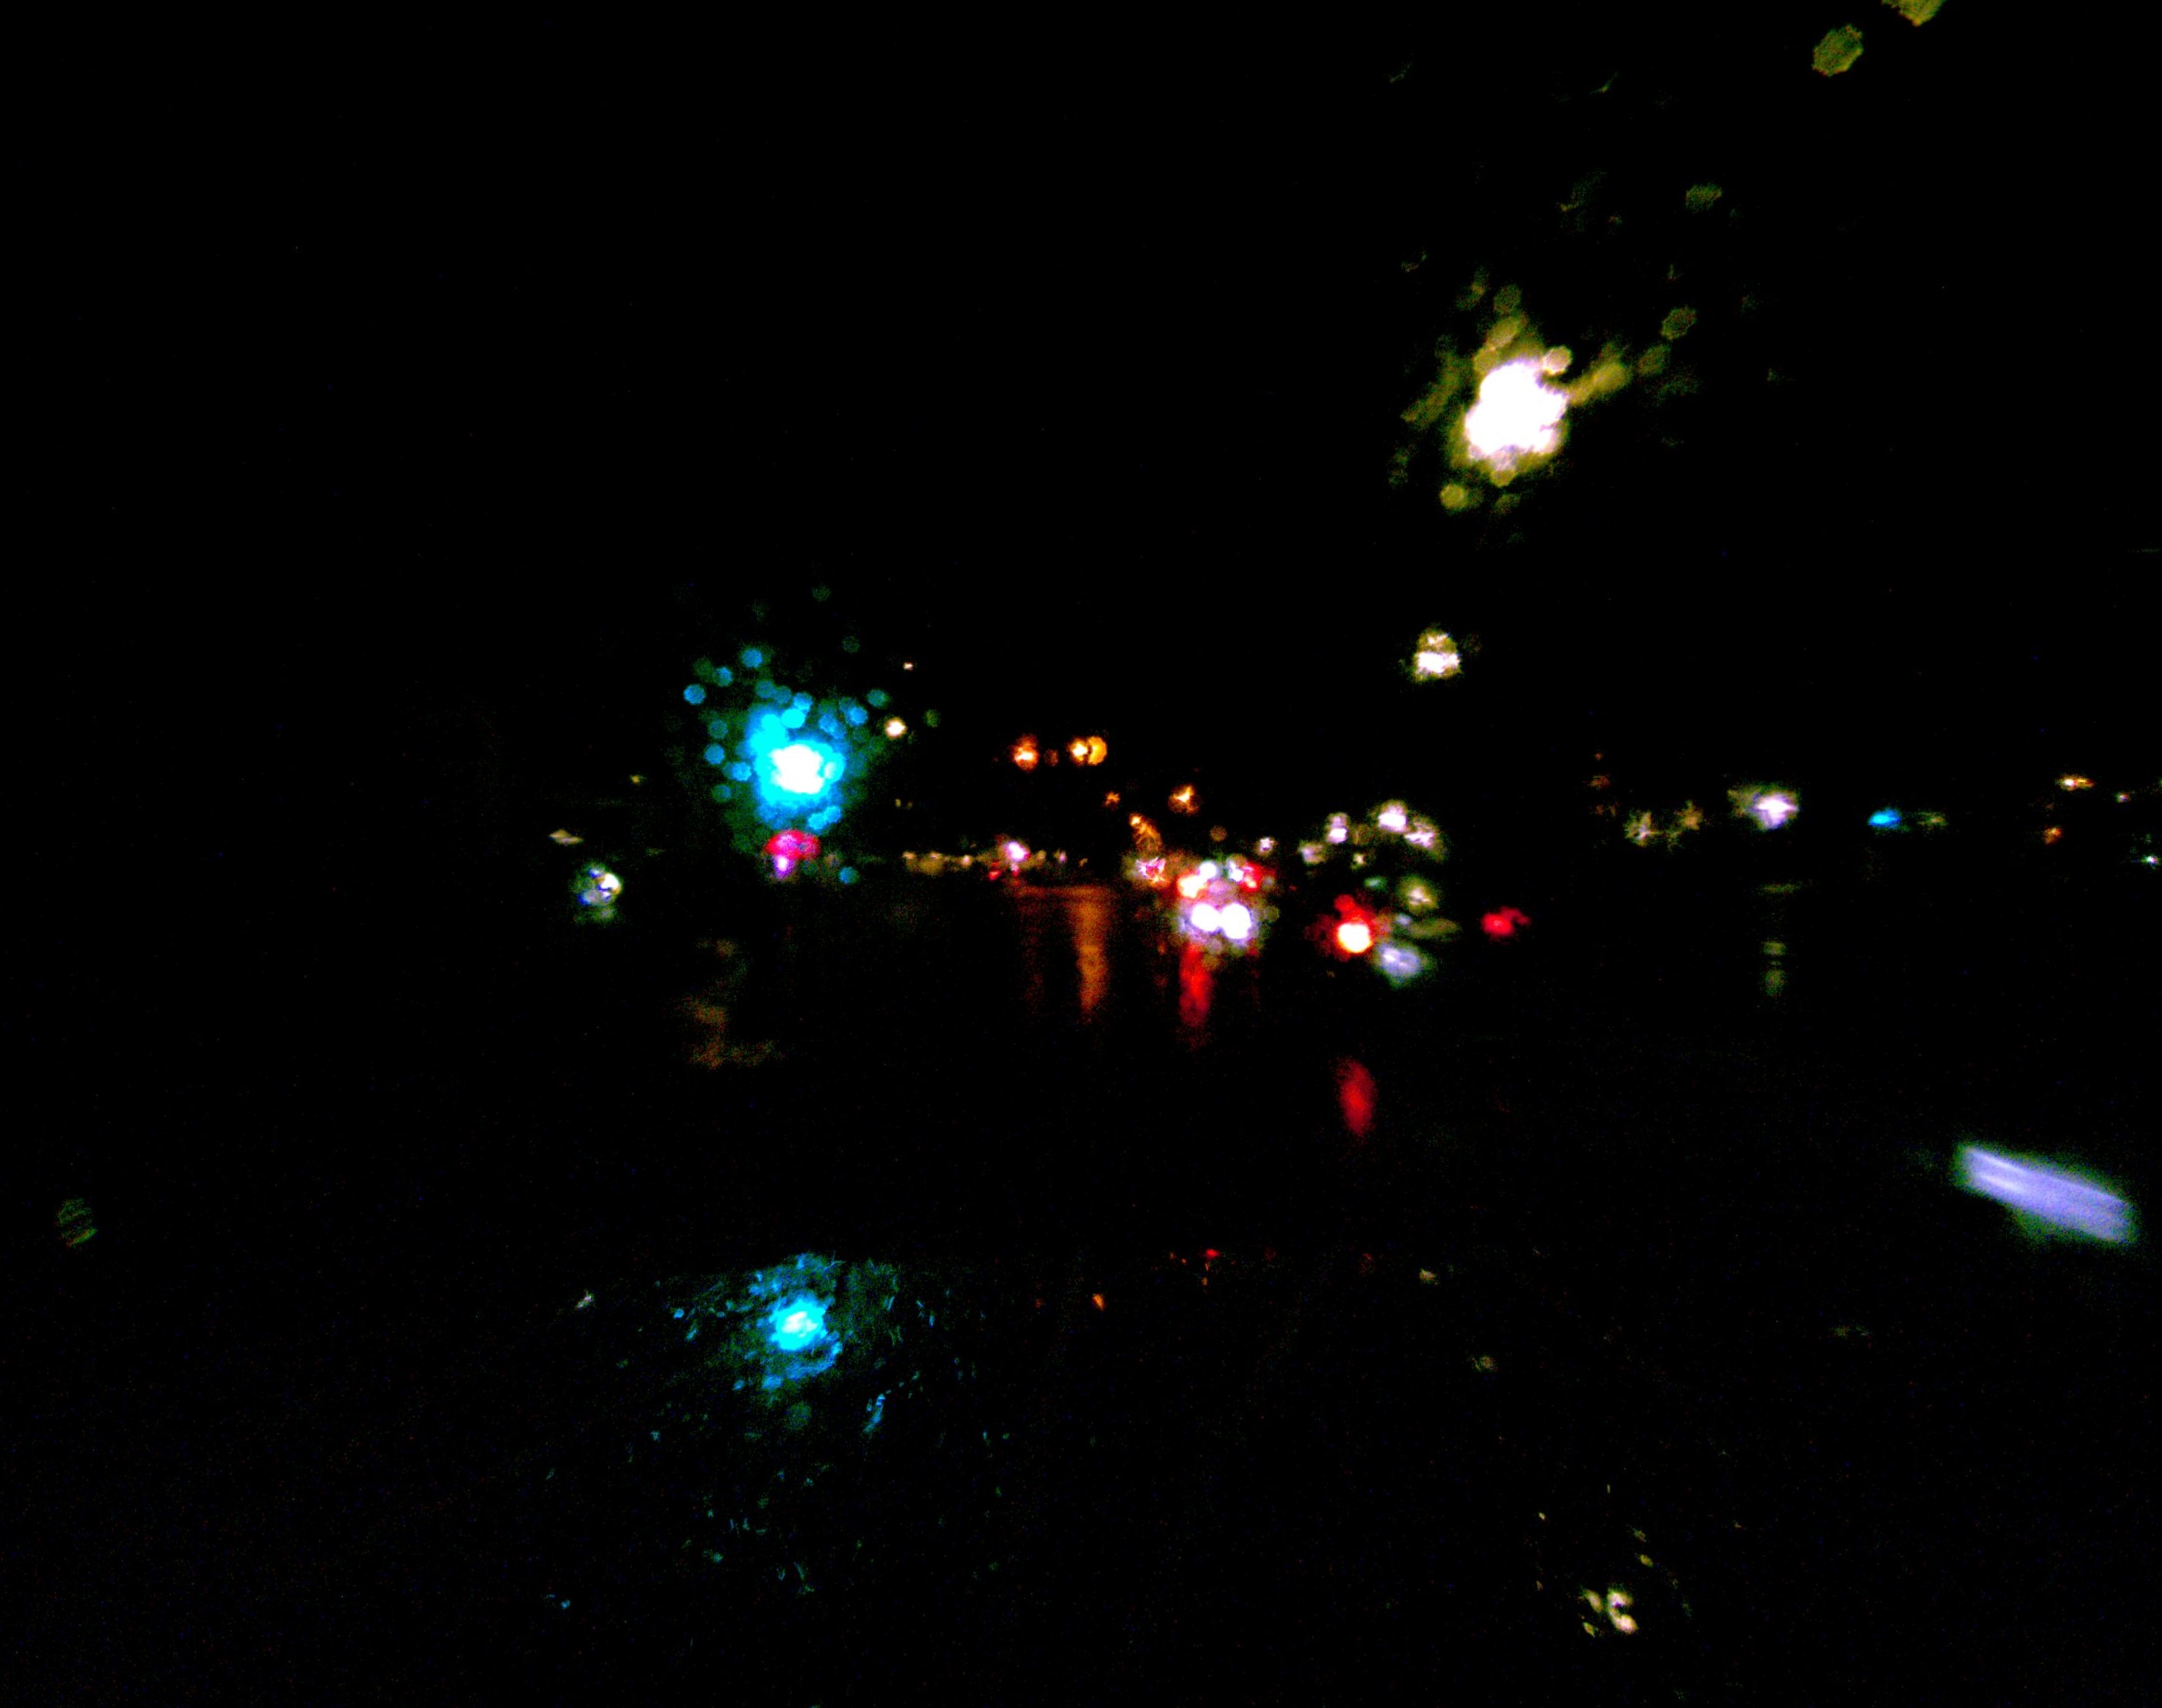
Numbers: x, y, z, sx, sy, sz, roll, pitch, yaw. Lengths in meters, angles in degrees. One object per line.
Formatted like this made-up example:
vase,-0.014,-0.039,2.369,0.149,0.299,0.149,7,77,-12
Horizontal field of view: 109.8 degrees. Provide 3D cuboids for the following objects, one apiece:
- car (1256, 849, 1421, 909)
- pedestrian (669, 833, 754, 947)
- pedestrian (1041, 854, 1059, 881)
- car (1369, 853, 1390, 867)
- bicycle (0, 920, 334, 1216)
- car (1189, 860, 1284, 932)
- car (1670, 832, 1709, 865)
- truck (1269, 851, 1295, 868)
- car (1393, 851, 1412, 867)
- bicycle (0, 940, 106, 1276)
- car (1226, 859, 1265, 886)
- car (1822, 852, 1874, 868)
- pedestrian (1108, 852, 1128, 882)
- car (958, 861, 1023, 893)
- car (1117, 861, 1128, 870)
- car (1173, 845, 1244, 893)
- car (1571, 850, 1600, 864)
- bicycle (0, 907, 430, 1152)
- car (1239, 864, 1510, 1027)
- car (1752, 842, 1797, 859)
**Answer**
car,7.266,0.663,22.043,1.826,1.533,4.717,-1,0,-23
pedestrian,-6.757,0.652,13.938,1.014,2.001,0.977,-1,0,4
pedestrian,-2.116,0.938,51.576,1.109,1.815,0.851,-1,0,7
car,34.779,0.702,88.442,1.866,1.603,4.502,-1,0,25
bicycle,-4.850,0.973,3.637,1.902,1.244,0.595,1,1,-2
car,3.705,0.936,18.751,1.672,1.553,4.008,-1,0,2
car,53.162,-0.457,66.452,1.715,2.715,4.363,-1,0,26
truck,24.518,0.694,92.556,2.125,2.001,5.272,-1,-1,25
car,36.761,0.563,86.844,1.866,1.750,4.502,-1,0,25
bicycle,-5.070,0.976,2.879,1.902,1.244,0.595,1,1,-2
car,9.628,1.036,44.683,1.767,1.478,4.062,-1,0,5
car,69.658,0.525,69.070,1.866,1.434,4.502,-1,-1,25
pedestrian,2.281,0.796,47.039,1.109,1.815,0.852,-1,0,9
car,-4.723,1.136,39.339,1.715,1.533,3.979,-1,0,-33
car,7.482,2.009,137.207,1.826,1.521,4.785,0,0,6
car,5.539,0.689,33.723,2.039,1.941,5.200,0,-1,-3
car,52.562,0.304,79.197,1.866,1.434,4.502,-1,-1,25
bicycle,-5.061,0.972,4.414,1.902,1.244,0.710,1,1,-2
car,3.083,0.862,8.927,1.672,1.412,4.098,-1,0,1
car,65.527,-0.323,71.839,1.866,1.434,4.502,-1,-1,25
